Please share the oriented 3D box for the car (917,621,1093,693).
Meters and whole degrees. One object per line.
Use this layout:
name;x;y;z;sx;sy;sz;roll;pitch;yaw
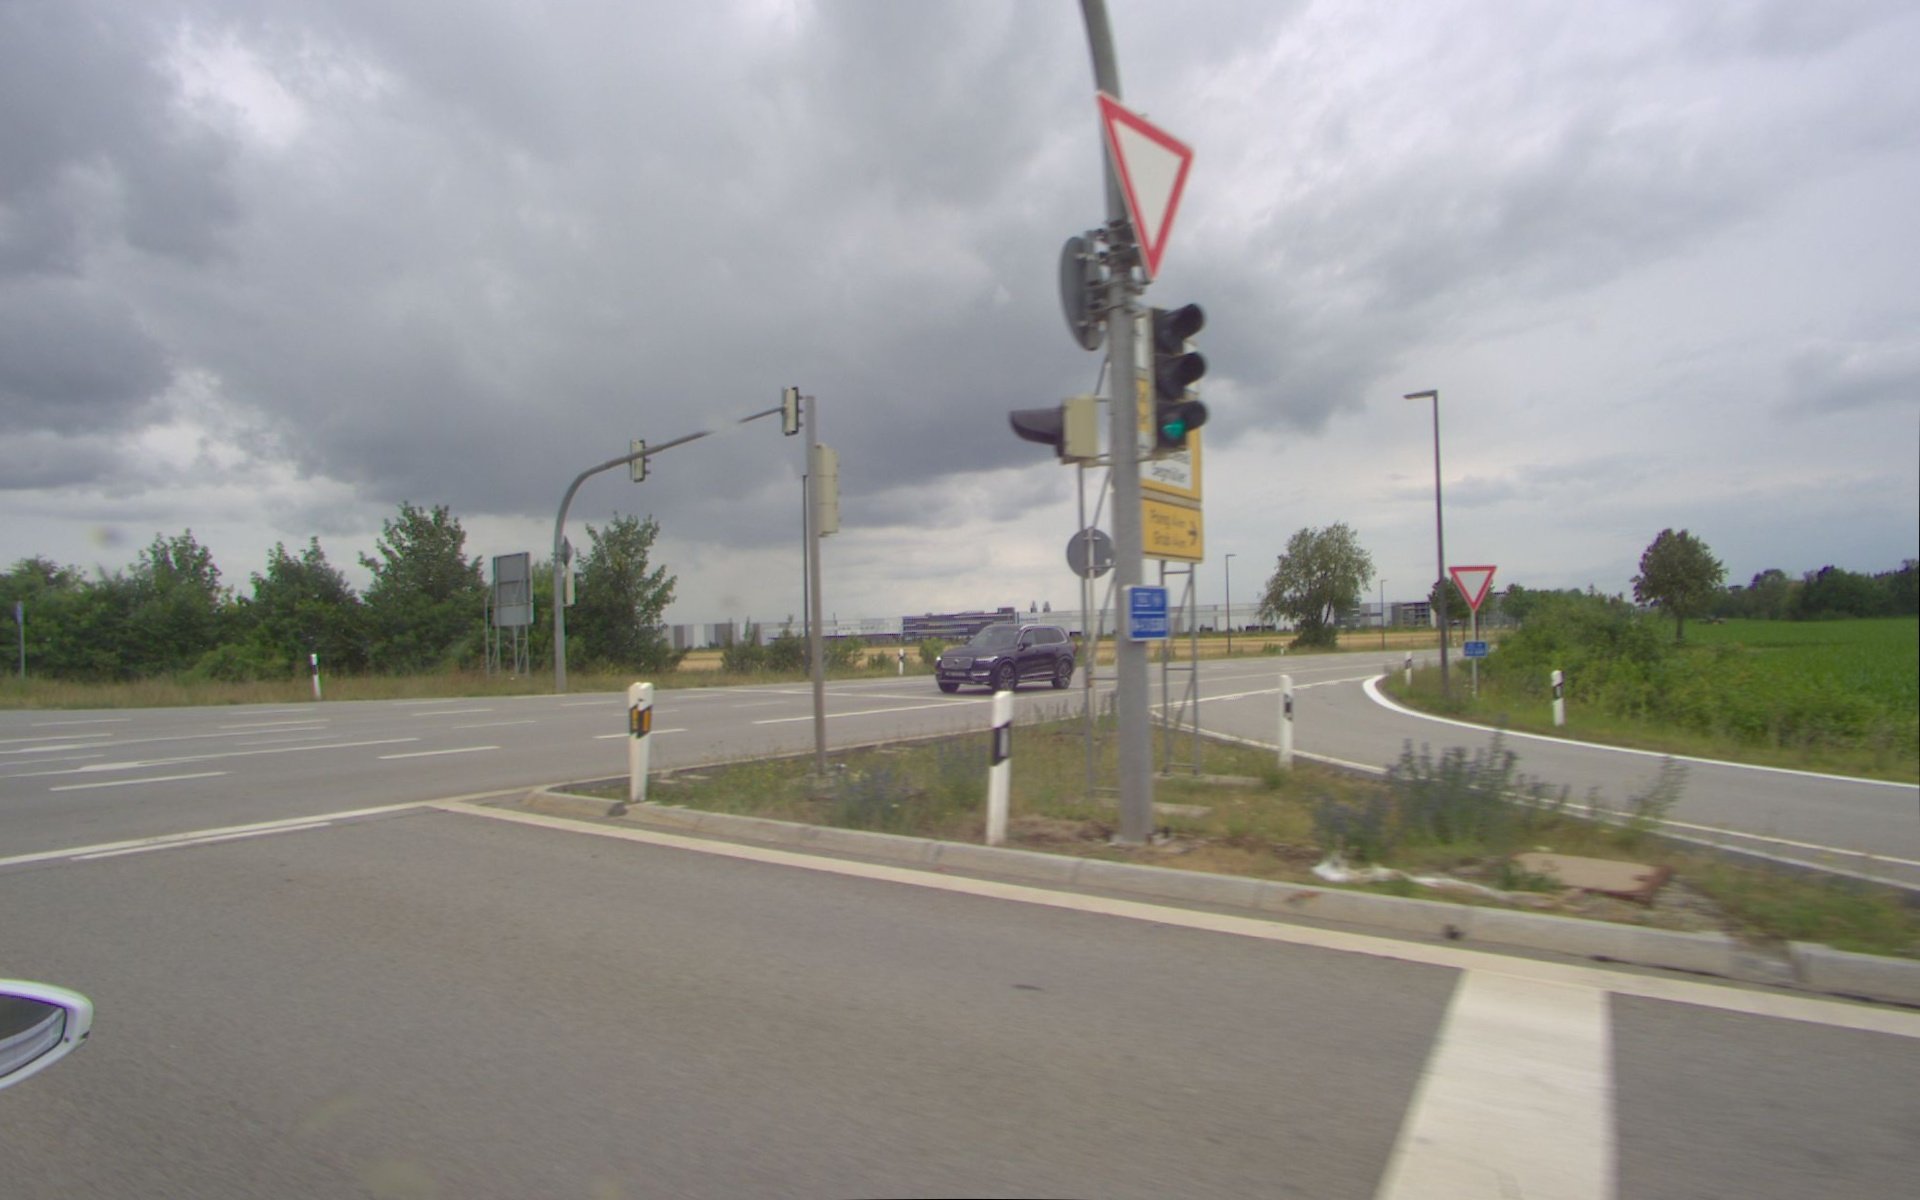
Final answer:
car;1.285;1.448;26.340;1.978;1.705;4.959;-2;-3;41
